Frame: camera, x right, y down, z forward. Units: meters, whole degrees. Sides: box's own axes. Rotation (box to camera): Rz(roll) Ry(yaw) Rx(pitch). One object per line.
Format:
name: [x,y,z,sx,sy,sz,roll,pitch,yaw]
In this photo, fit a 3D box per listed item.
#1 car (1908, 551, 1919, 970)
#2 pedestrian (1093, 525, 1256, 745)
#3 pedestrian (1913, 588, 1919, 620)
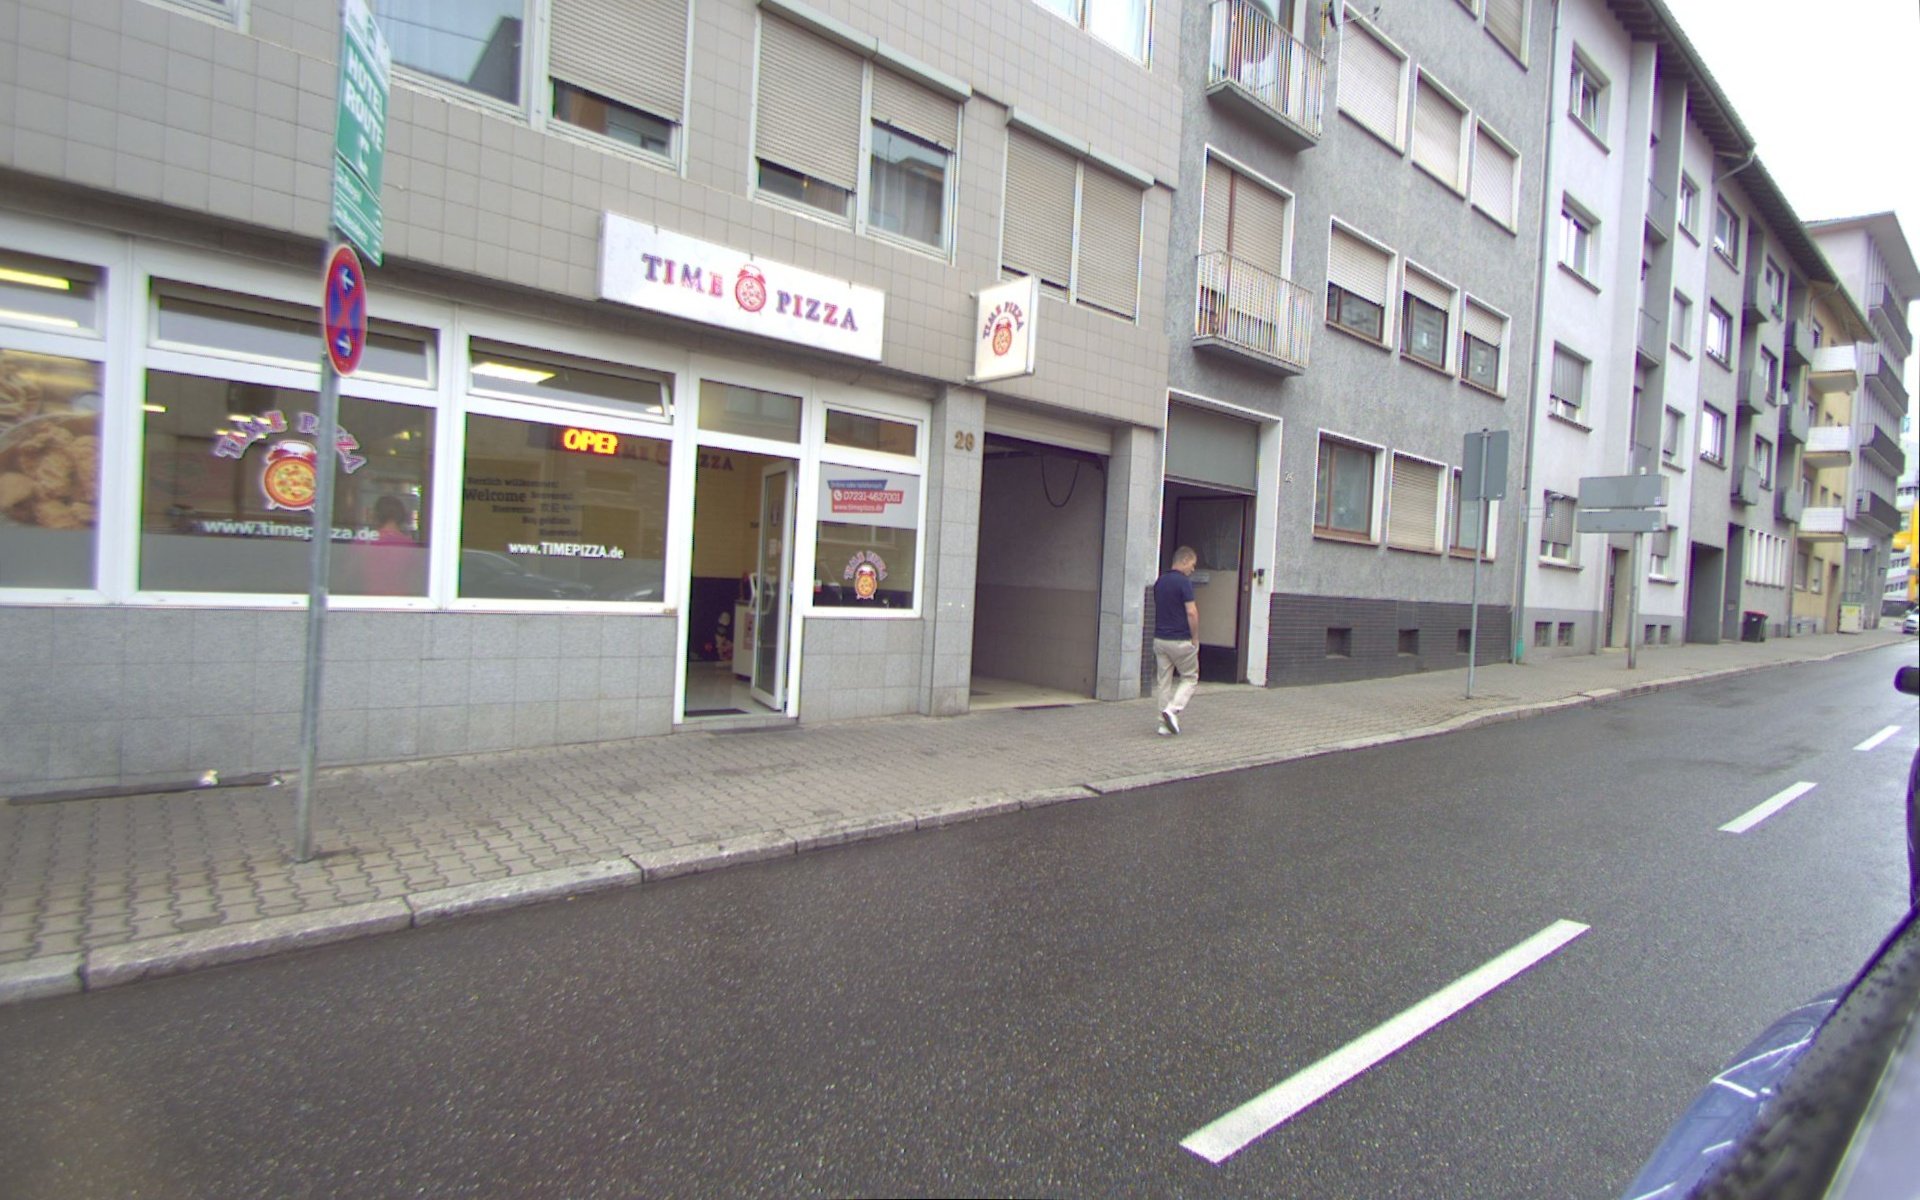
car: [6.074,0.648,4.938,4.144,1.743,1.697,-1,0,-41]
pedestrian: [2.021,0.287,9.556,1.100,1.887,0.871,0,7,-41]
pedestrian: [54.438,0.255,56.946,1.117,1.772,0.946,4,3,44]
